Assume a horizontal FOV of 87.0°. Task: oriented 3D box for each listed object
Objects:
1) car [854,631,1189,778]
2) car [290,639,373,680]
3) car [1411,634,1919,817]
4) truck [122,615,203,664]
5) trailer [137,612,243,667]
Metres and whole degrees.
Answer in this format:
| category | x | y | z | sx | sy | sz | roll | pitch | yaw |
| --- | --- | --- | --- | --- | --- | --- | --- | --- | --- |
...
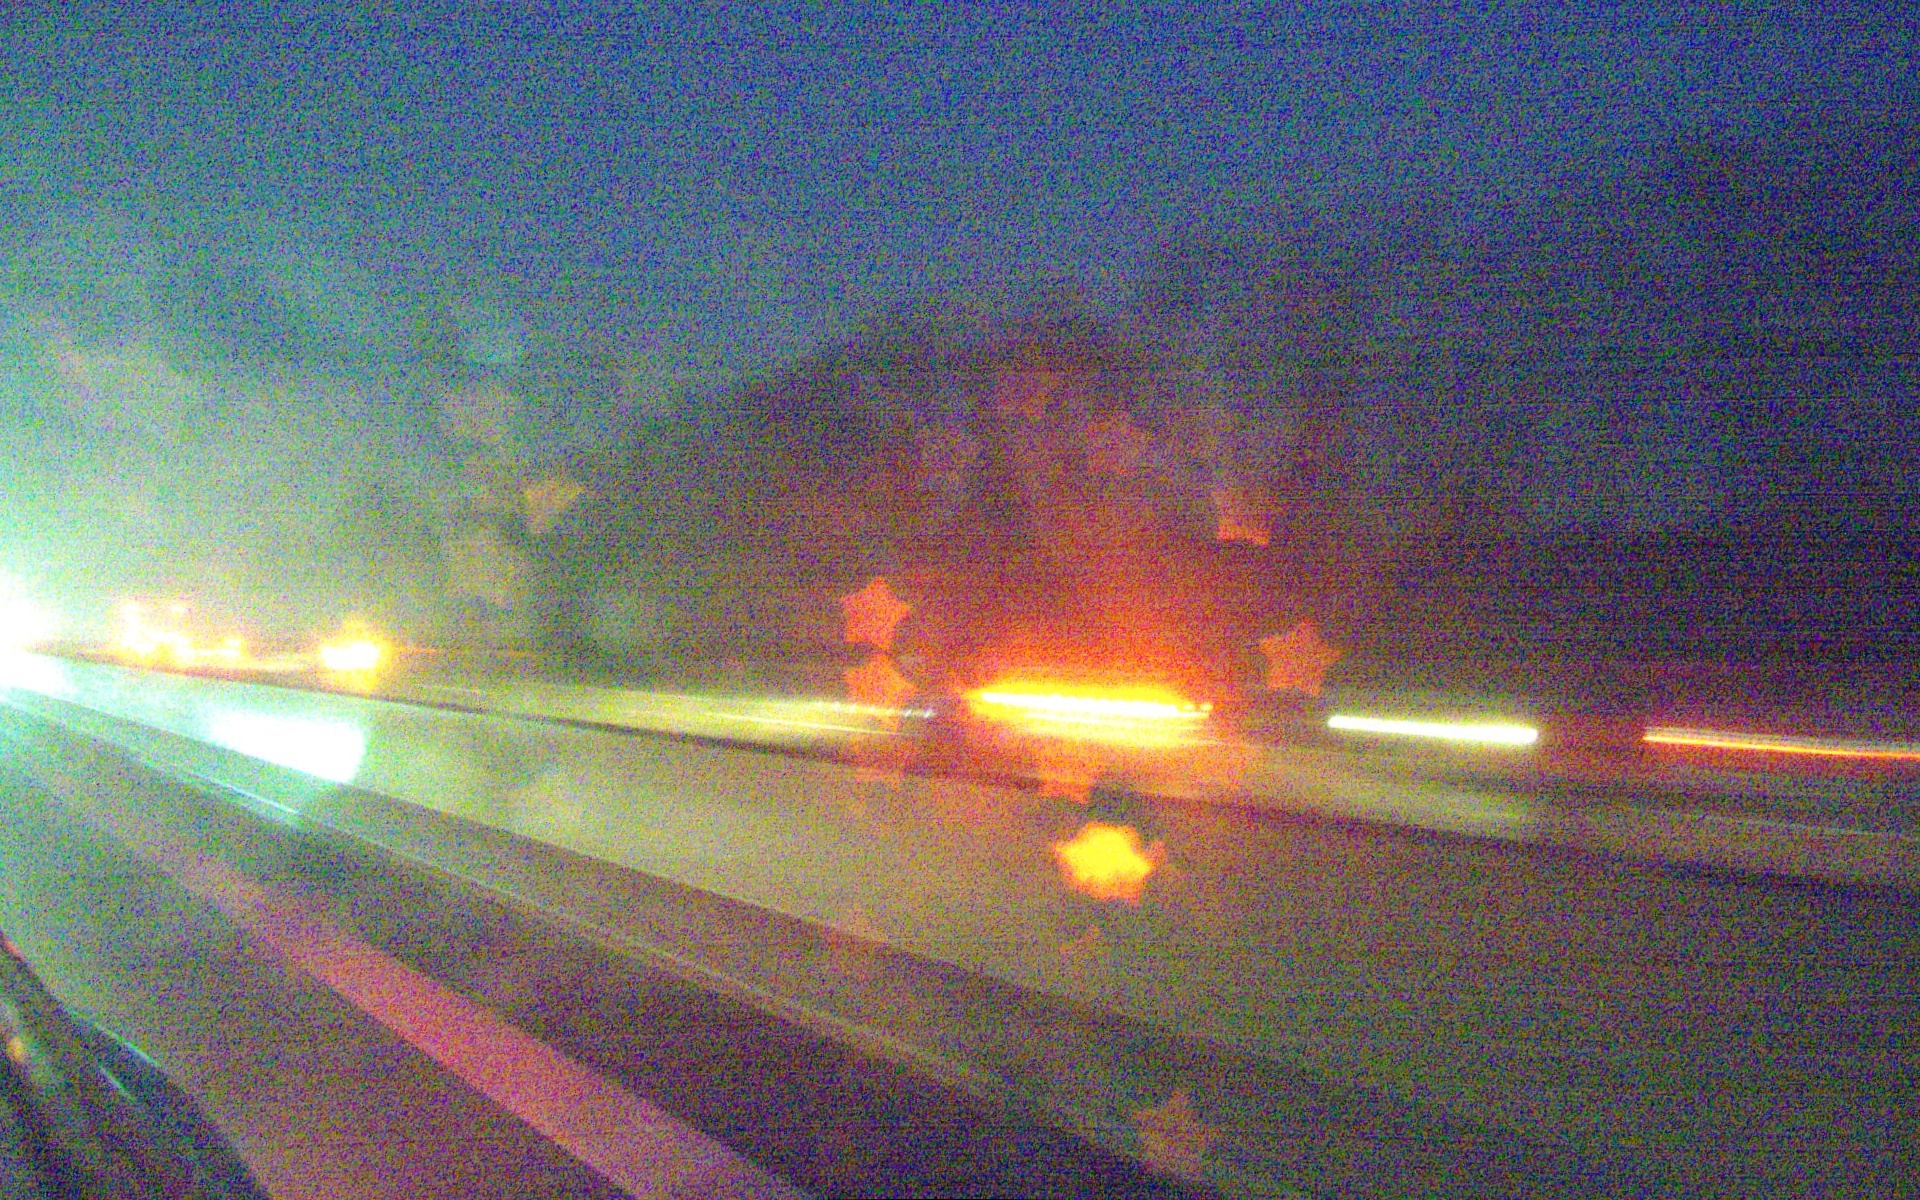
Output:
| category | x | y | z | sx | sy | sz | roll | pitch | yaw |
| --- | --- | --- | --- | --- | --- | --- | --- | --- | --- |
| car | 0.781 | 1.424 | 14.927 | 4.651 | 1.774 | 1.973 | -3 | -2 | 40 |
| car | -28.581 | 2.667 | 45.987 | 4.503 | 1.697 | 1.896 | -1 | -3 | 41 |
| car | 8.702 | 1.436 | 12.810 | 5.087 | 1.829 | 1.974 | -3 | -1 | 39 |
| truck | -56.519 | 2.830 | 71.670 | 8.340 | 3.321 | 3.042 | -2 | -4 | 42 |
| trailer | -50.604 | 2.611 | 66.328 | 13.151 | 3.321 | 3.042 | -2 | -4 | 42 |
